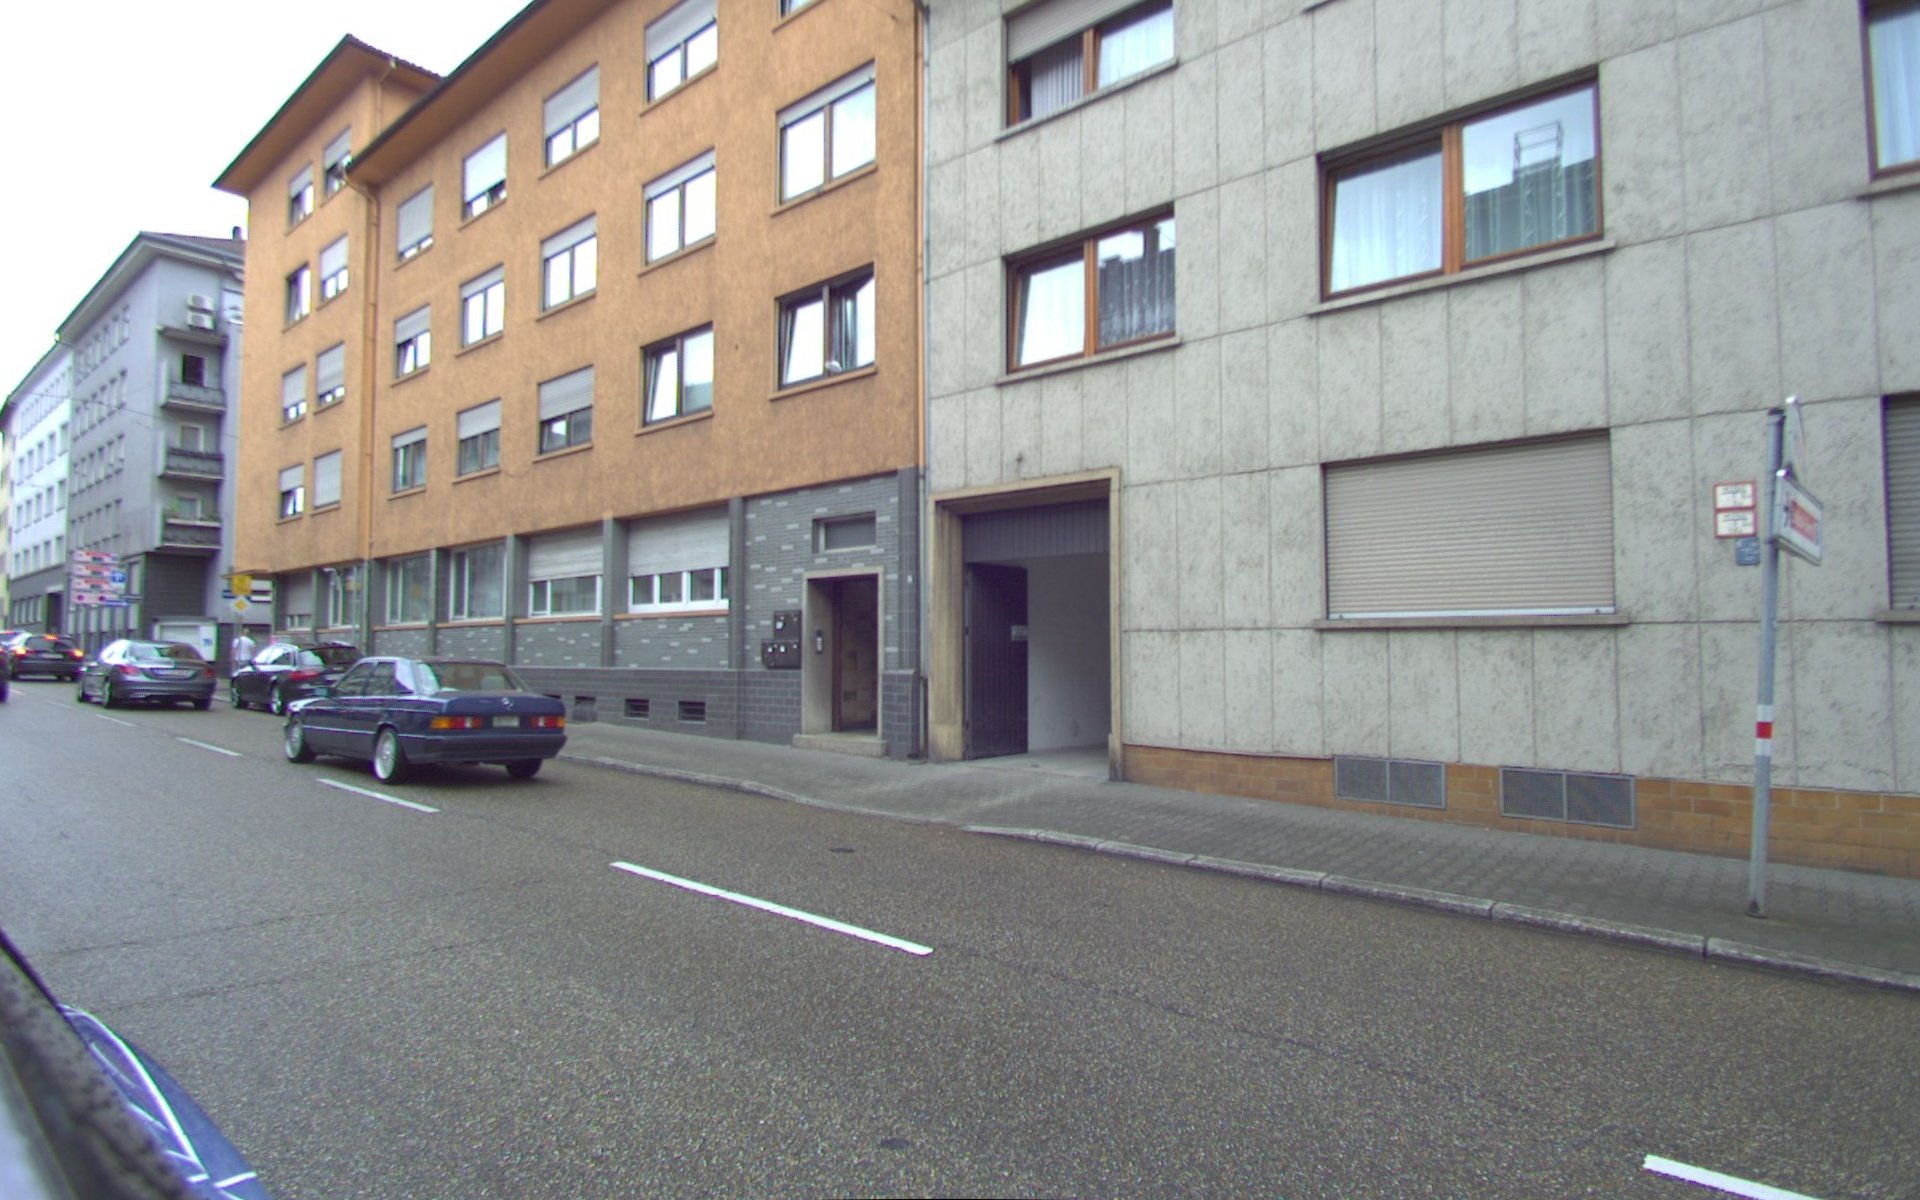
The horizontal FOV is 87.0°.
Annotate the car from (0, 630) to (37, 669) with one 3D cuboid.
[{"bbox_3d":[-46.495,2.374,49.293,4.216,1.735,1.832,-1,0,41],"label":"car"}]

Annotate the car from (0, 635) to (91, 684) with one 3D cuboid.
[{"bbox_3d":[-29.568,1.894,32.524,4.370,1.484,1.705,-2,-5,40],"label":"car"}]

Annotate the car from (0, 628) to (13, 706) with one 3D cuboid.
[{"bbox_3d":[-21.907,1.359,21.768,4.214,1.592,1.677,0,-4,40],"label":"car"}]

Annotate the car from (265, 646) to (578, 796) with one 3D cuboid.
[{"bbox_3d":[-6.411,1.304,11.844,4.357,1.381,1.583,-1,-5,39],"label":"car"}]

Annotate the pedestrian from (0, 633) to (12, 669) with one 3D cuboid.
[{"bbox_3d":[-55.509,2.947,58.189,1.257,2.029,1.292,-1,0,41],"label":"pedestrian"}]

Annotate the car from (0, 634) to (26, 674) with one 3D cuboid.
[{"bbox_3d":[-40.583,2.174,42.223,4.433,1.551,1.677,-1,-6,40],"label":"car"}]

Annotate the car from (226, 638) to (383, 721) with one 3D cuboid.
[{"bbox_3d":[-14.271,1.641,21.955,4.216,1.485,1.776,-1,0,41],"label":"car"}]

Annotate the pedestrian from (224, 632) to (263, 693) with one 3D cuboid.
[{"bbox_3d":[-20.480,1.763,28.928,0.757,1.652,1.024,-1,0,-44],"label":"pedestrian"}]

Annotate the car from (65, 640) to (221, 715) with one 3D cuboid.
[{"bbox_3d":[-17.646,1.631,21.795,4.362,1.381,1.678,-1,-5,40],"label":"car"}]
